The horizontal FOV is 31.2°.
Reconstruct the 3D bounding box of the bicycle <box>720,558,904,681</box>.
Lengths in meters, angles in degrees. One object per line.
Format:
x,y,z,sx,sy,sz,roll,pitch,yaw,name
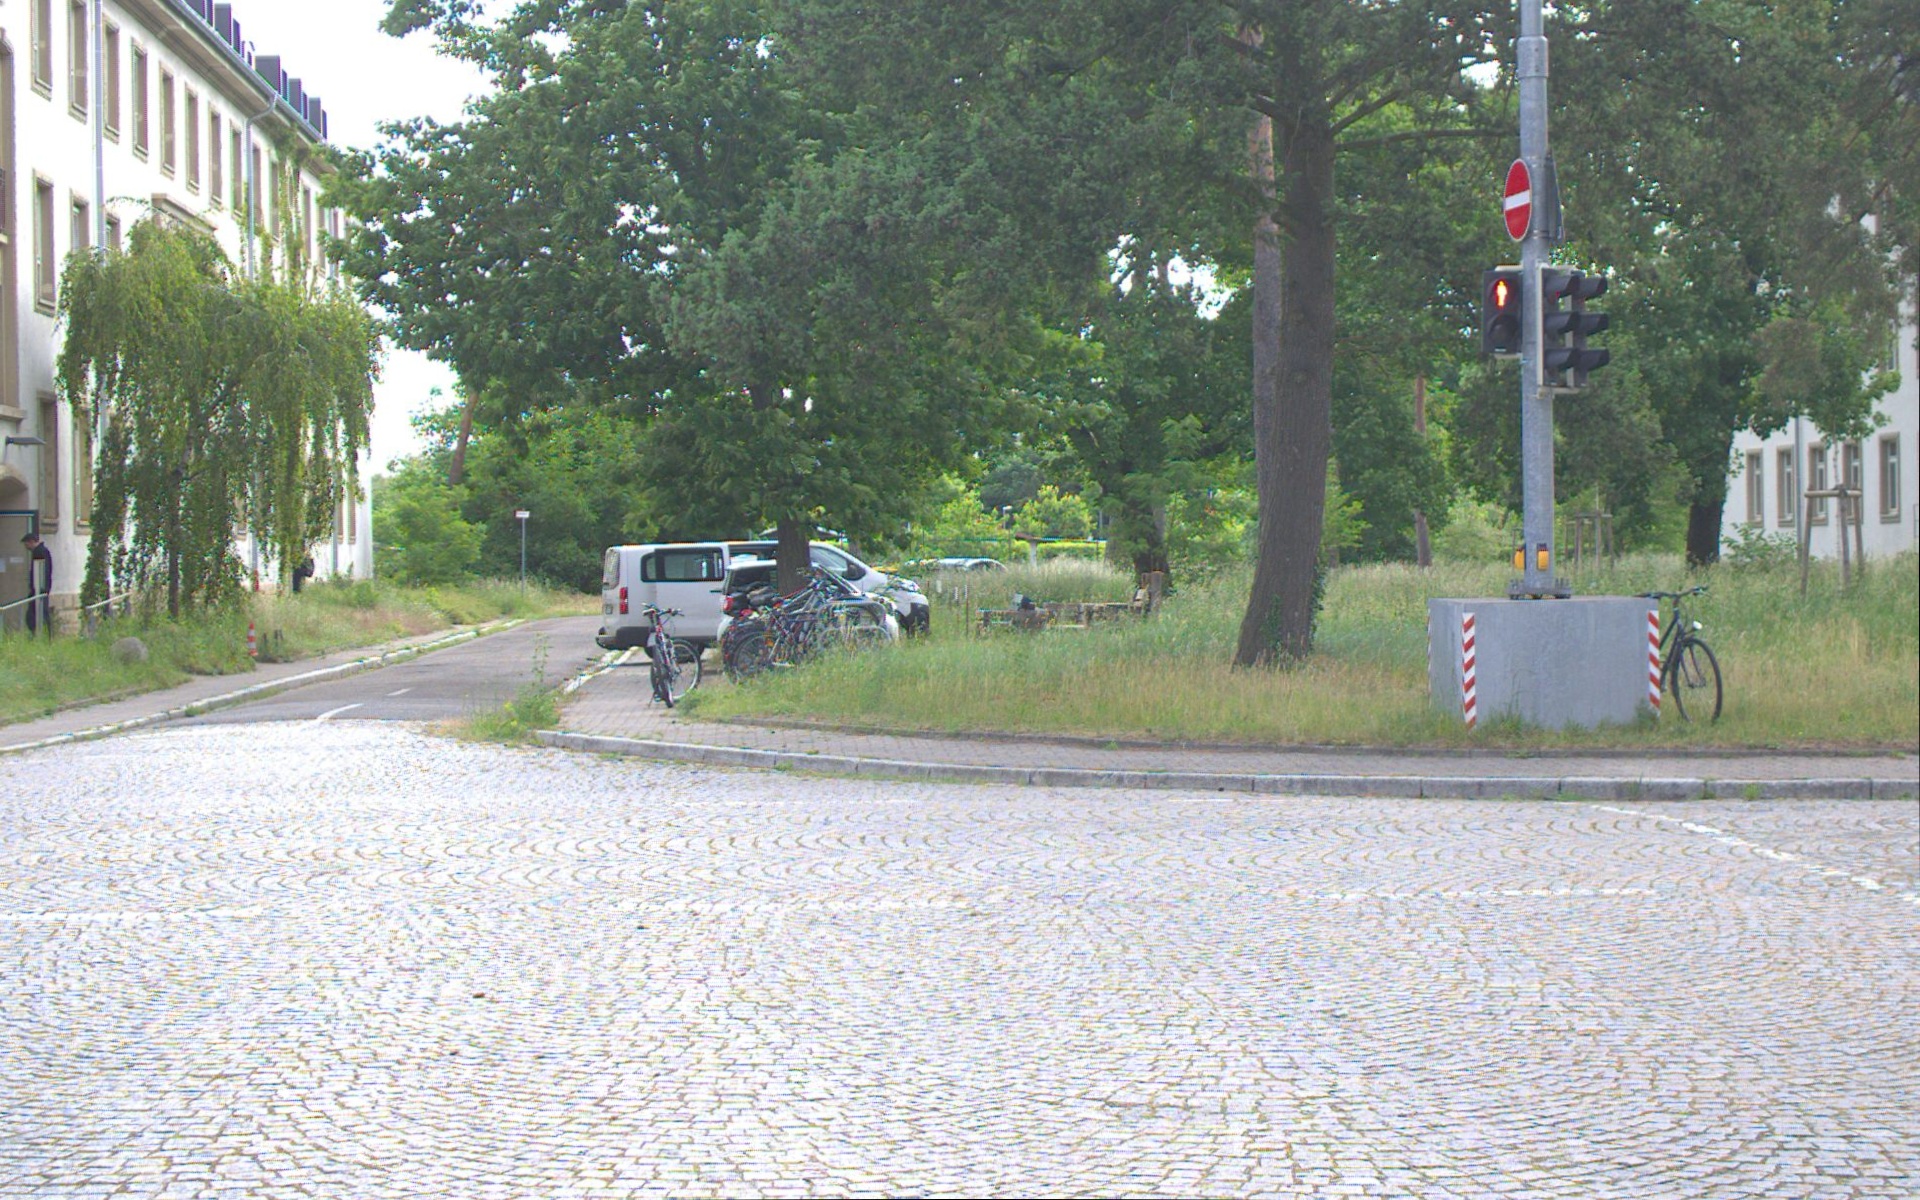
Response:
-1.699,0.214,39.473,2.069,1.373,0.620,-1,1,-2,bicycle

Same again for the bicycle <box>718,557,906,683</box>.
-1.663,0.218,38.676,2.069,1.373,0.620,-1,1,-2,bicycle

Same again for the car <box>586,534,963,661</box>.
-3.001,-0.064,55.229,5.690,1.904,2.231,-1,1,-15,car

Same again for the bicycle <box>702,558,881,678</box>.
-1.970,0.204,40.260,2.069,1.373,0.620,-1,1,-2,bicycle

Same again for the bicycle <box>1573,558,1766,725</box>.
5.216,0.284,25.398,0.908,1.173,1.874,-1,1,-4,bicycle

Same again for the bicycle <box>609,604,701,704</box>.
-3.135,0.545,35.519,0.618,0.960,2.076,-1,1,4,bicycle

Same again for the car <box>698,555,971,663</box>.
-1.919,0.112,51.905,3.931,1.539,2.000,-1,1,-7,car

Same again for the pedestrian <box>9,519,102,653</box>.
-13.773,-0.217,52.355,1.087,2.007,1.021,-1,1,2,pedestrian

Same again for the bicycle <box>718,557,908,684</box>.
-1.625,0.222,38.053,2.069,1.373,0.620,-1,1,-2,bicycle

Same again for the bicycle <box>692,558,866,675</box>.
-2.189,0.194,41.737,2.069,1.373,0.620,-1,1,-2,bicycle

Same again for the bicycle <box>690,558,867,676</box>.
-2.162,0.198,40.990,2.069,1.373,0.620,-1,1,-2,bicycle

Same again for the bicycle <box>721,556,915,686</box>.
-1.544,0.227,37.385,2.069,1.373,0.620,-1,1,-2,bicycle
